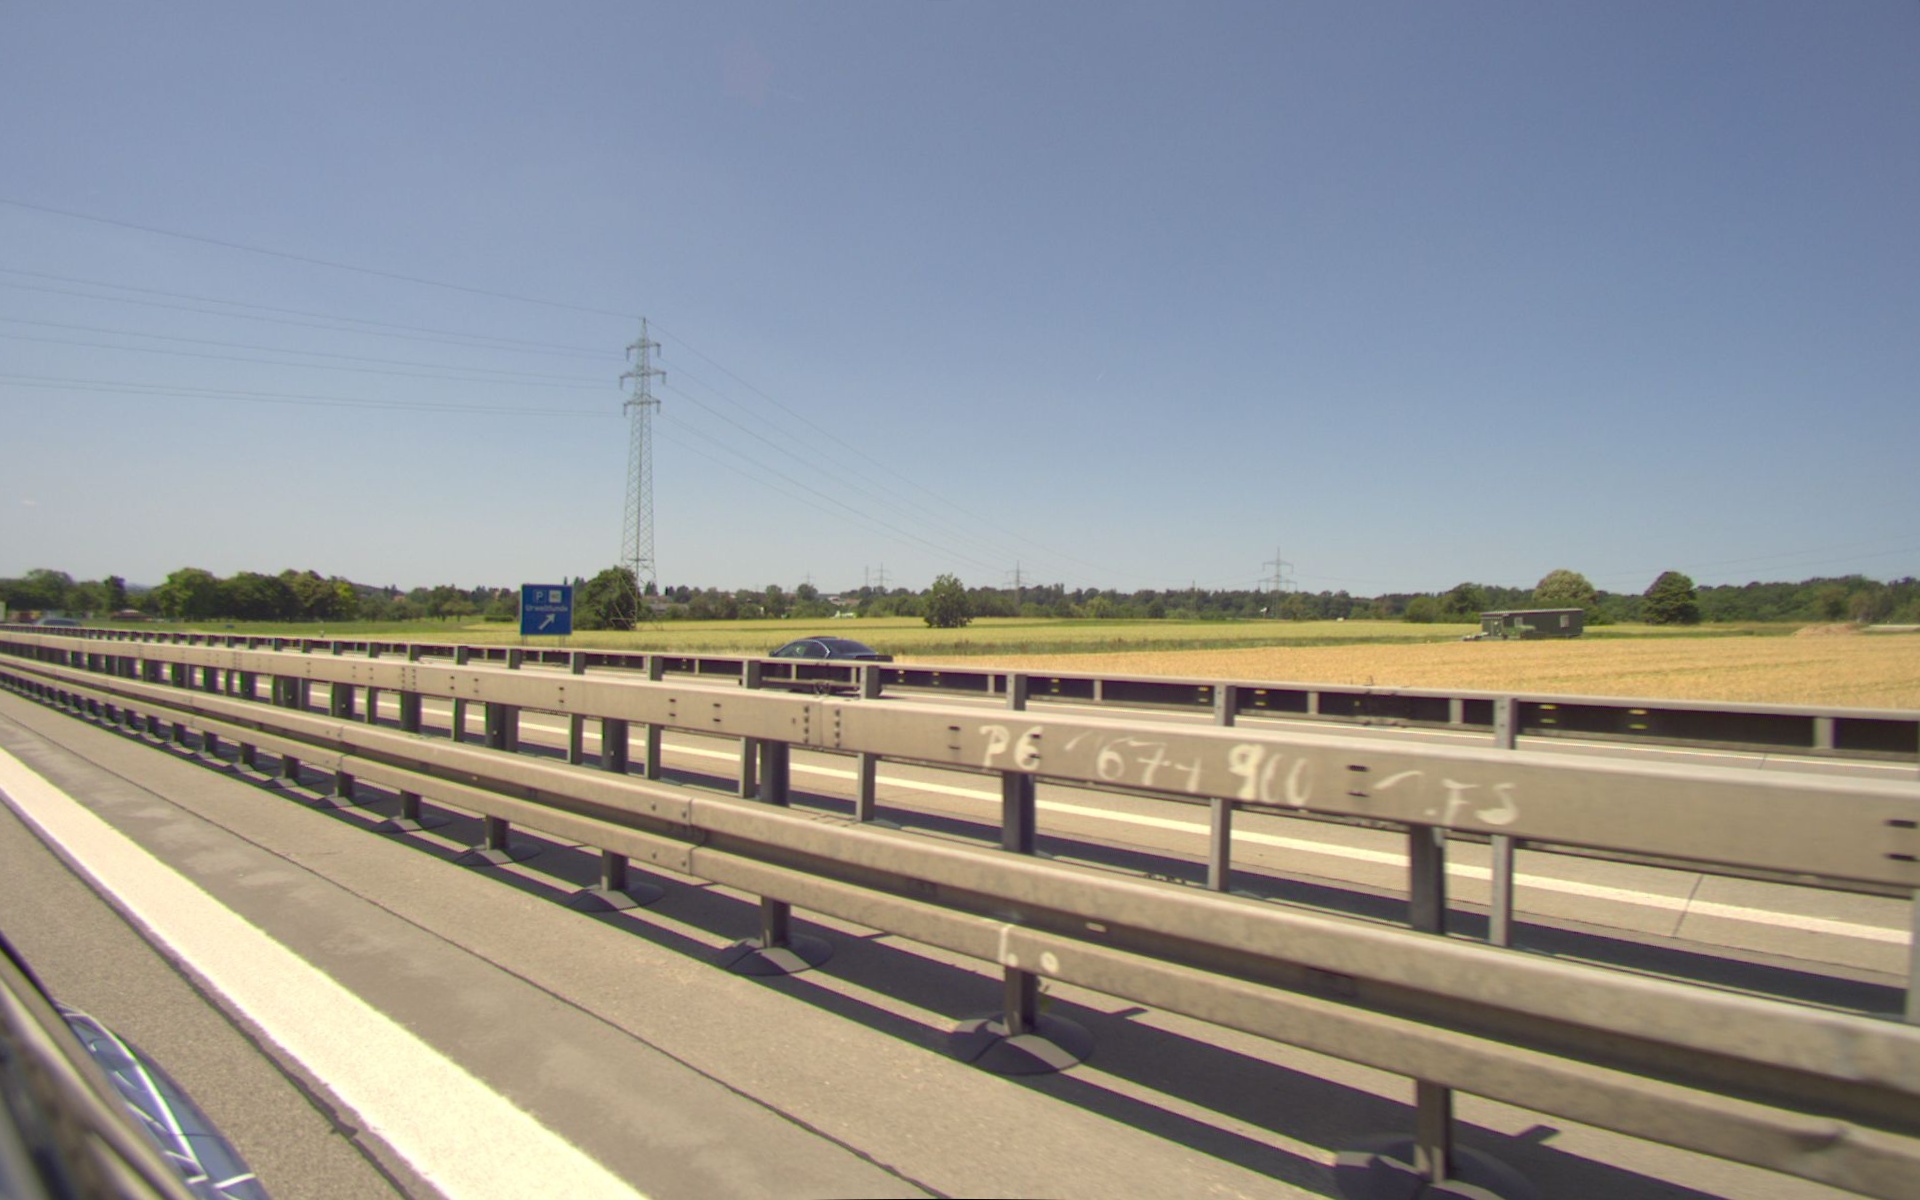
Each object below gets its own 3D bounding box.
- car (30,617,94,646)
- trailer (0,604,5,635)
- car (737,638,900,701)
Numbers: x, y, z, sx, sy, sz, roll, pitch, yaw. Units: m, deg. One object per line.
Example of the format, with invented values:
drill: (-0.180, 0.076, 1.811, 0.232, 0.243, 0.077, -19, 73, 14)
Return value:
car: (-50.270, 1.761, 56.612, 5.279, 1.451, 1.789, -1, -4, 40)
trailer: (-131.477, 2.564, 136.409, 11.659, 4.077, 2.803, -1, 0, 41)
car: (-3.389, 1.573, 23.864, 4.040, 1.316, 1.557, -1, -2, 41)
